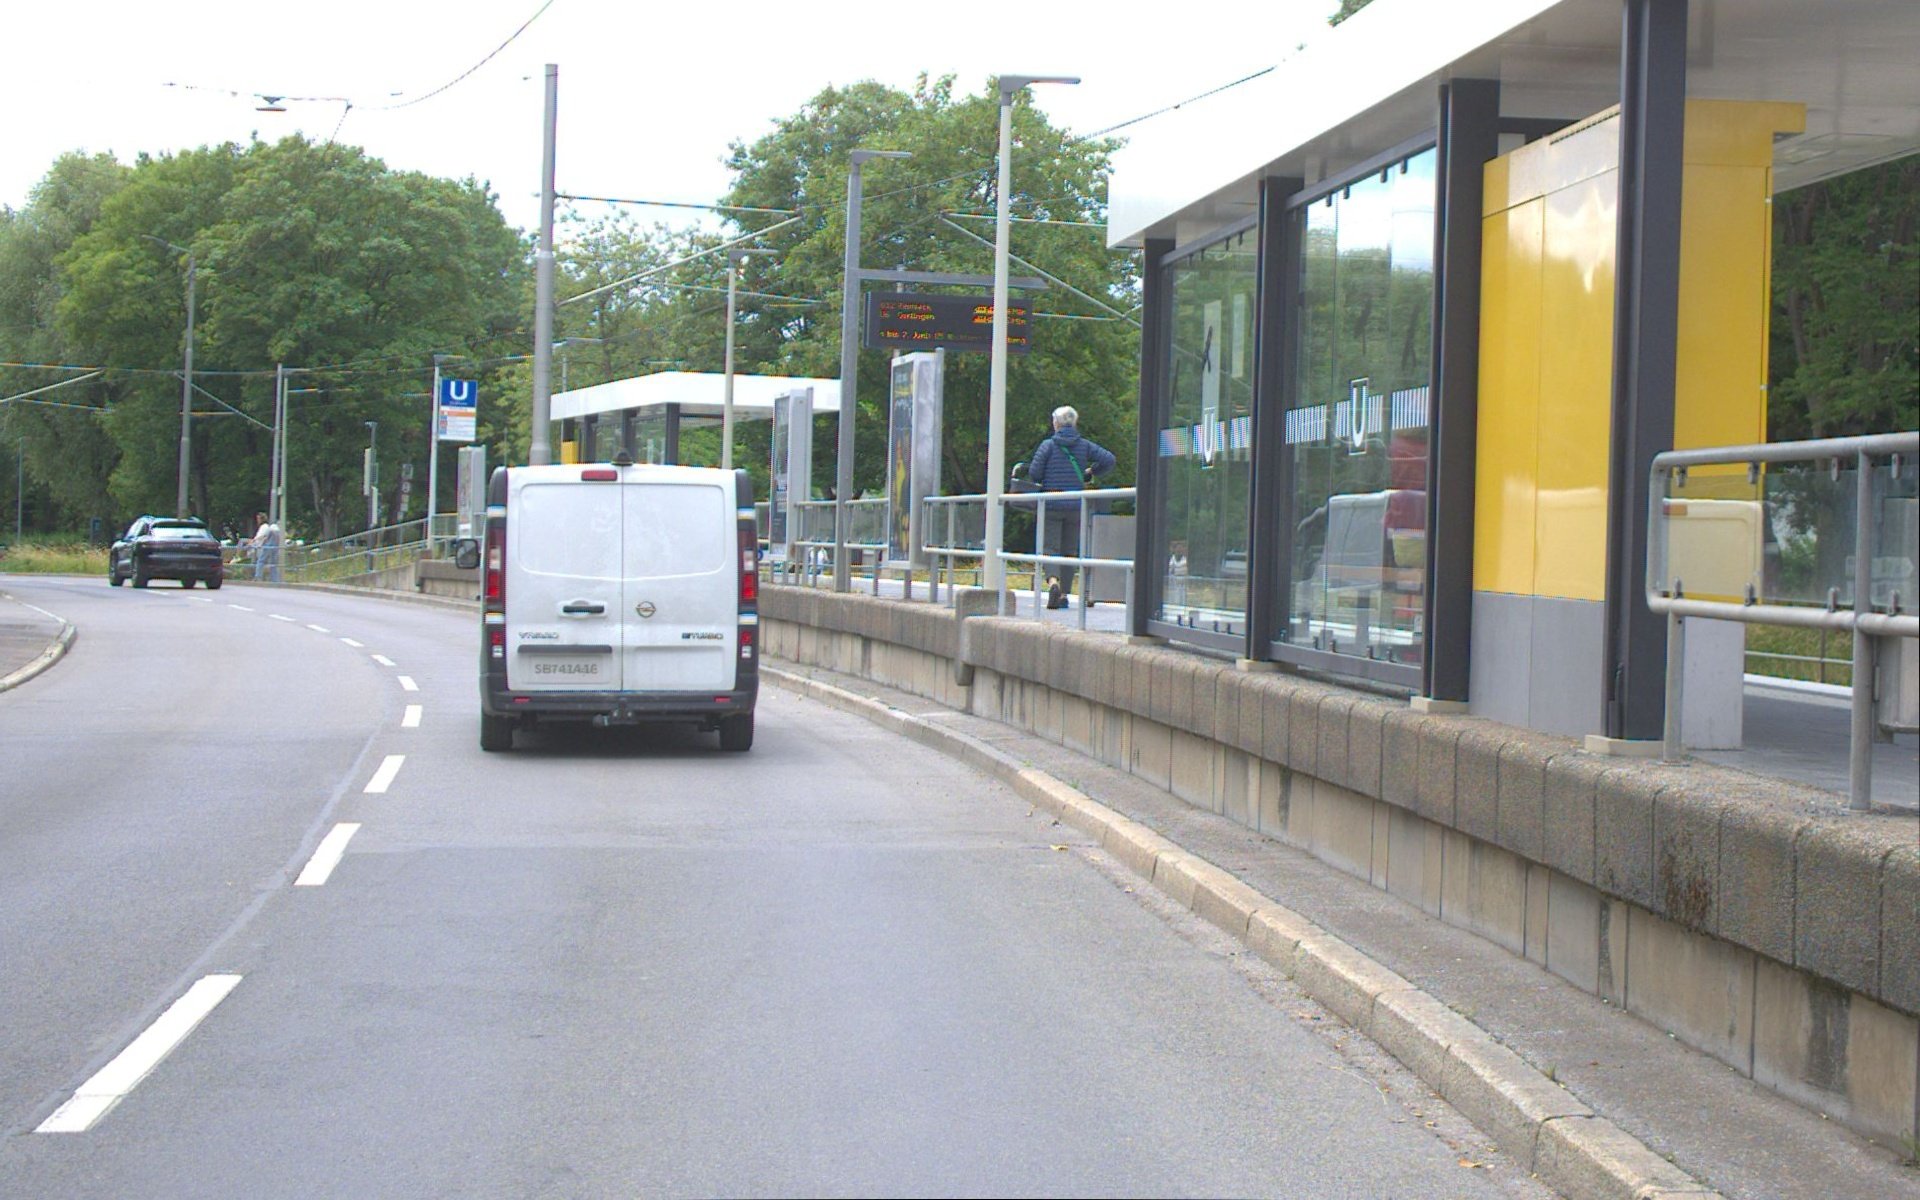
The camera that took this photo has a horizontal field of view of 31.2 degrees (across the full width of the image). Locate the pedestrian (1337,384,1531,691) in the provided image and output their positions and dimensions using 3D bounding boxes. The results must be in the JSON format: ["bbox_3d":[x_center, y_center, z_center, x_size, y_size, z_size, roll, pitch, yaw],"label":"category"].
[{"bbox_3d":[2.067,-0.272,15.050,0.620,1.294,0.720,2,1,-8],"label":"pedestrian"}]

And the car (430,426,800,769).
[{"bbox_3d":[-2.637,-0.067,24.924,2.116,2.127,5.442,3,1,-11],"label":"car"}]

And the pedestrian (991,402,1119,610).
[{"bbox_3d":[0.782,-0.776,28.555,0.885,1.665,0.910,2,1,-7],"label":"pedestrian"}]

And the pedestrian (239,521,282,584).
[{"bbox_3d":[-16.734,-1.144,82.247,0.759,1.487,0.630,1,1,-41],"label":"pedestrian"}]

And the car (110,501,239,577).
[{"bbox_3d":[-17.868,-1.391,78.044,2.354,1.559,4.374,3,0,-19],"label":"car"}]

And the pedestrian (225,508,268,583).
[{"bbox_3d":[-17.349,-1.323,83.578,0.759,1.789,0.630,1,1,-41],"label":"pedestrian"}]
